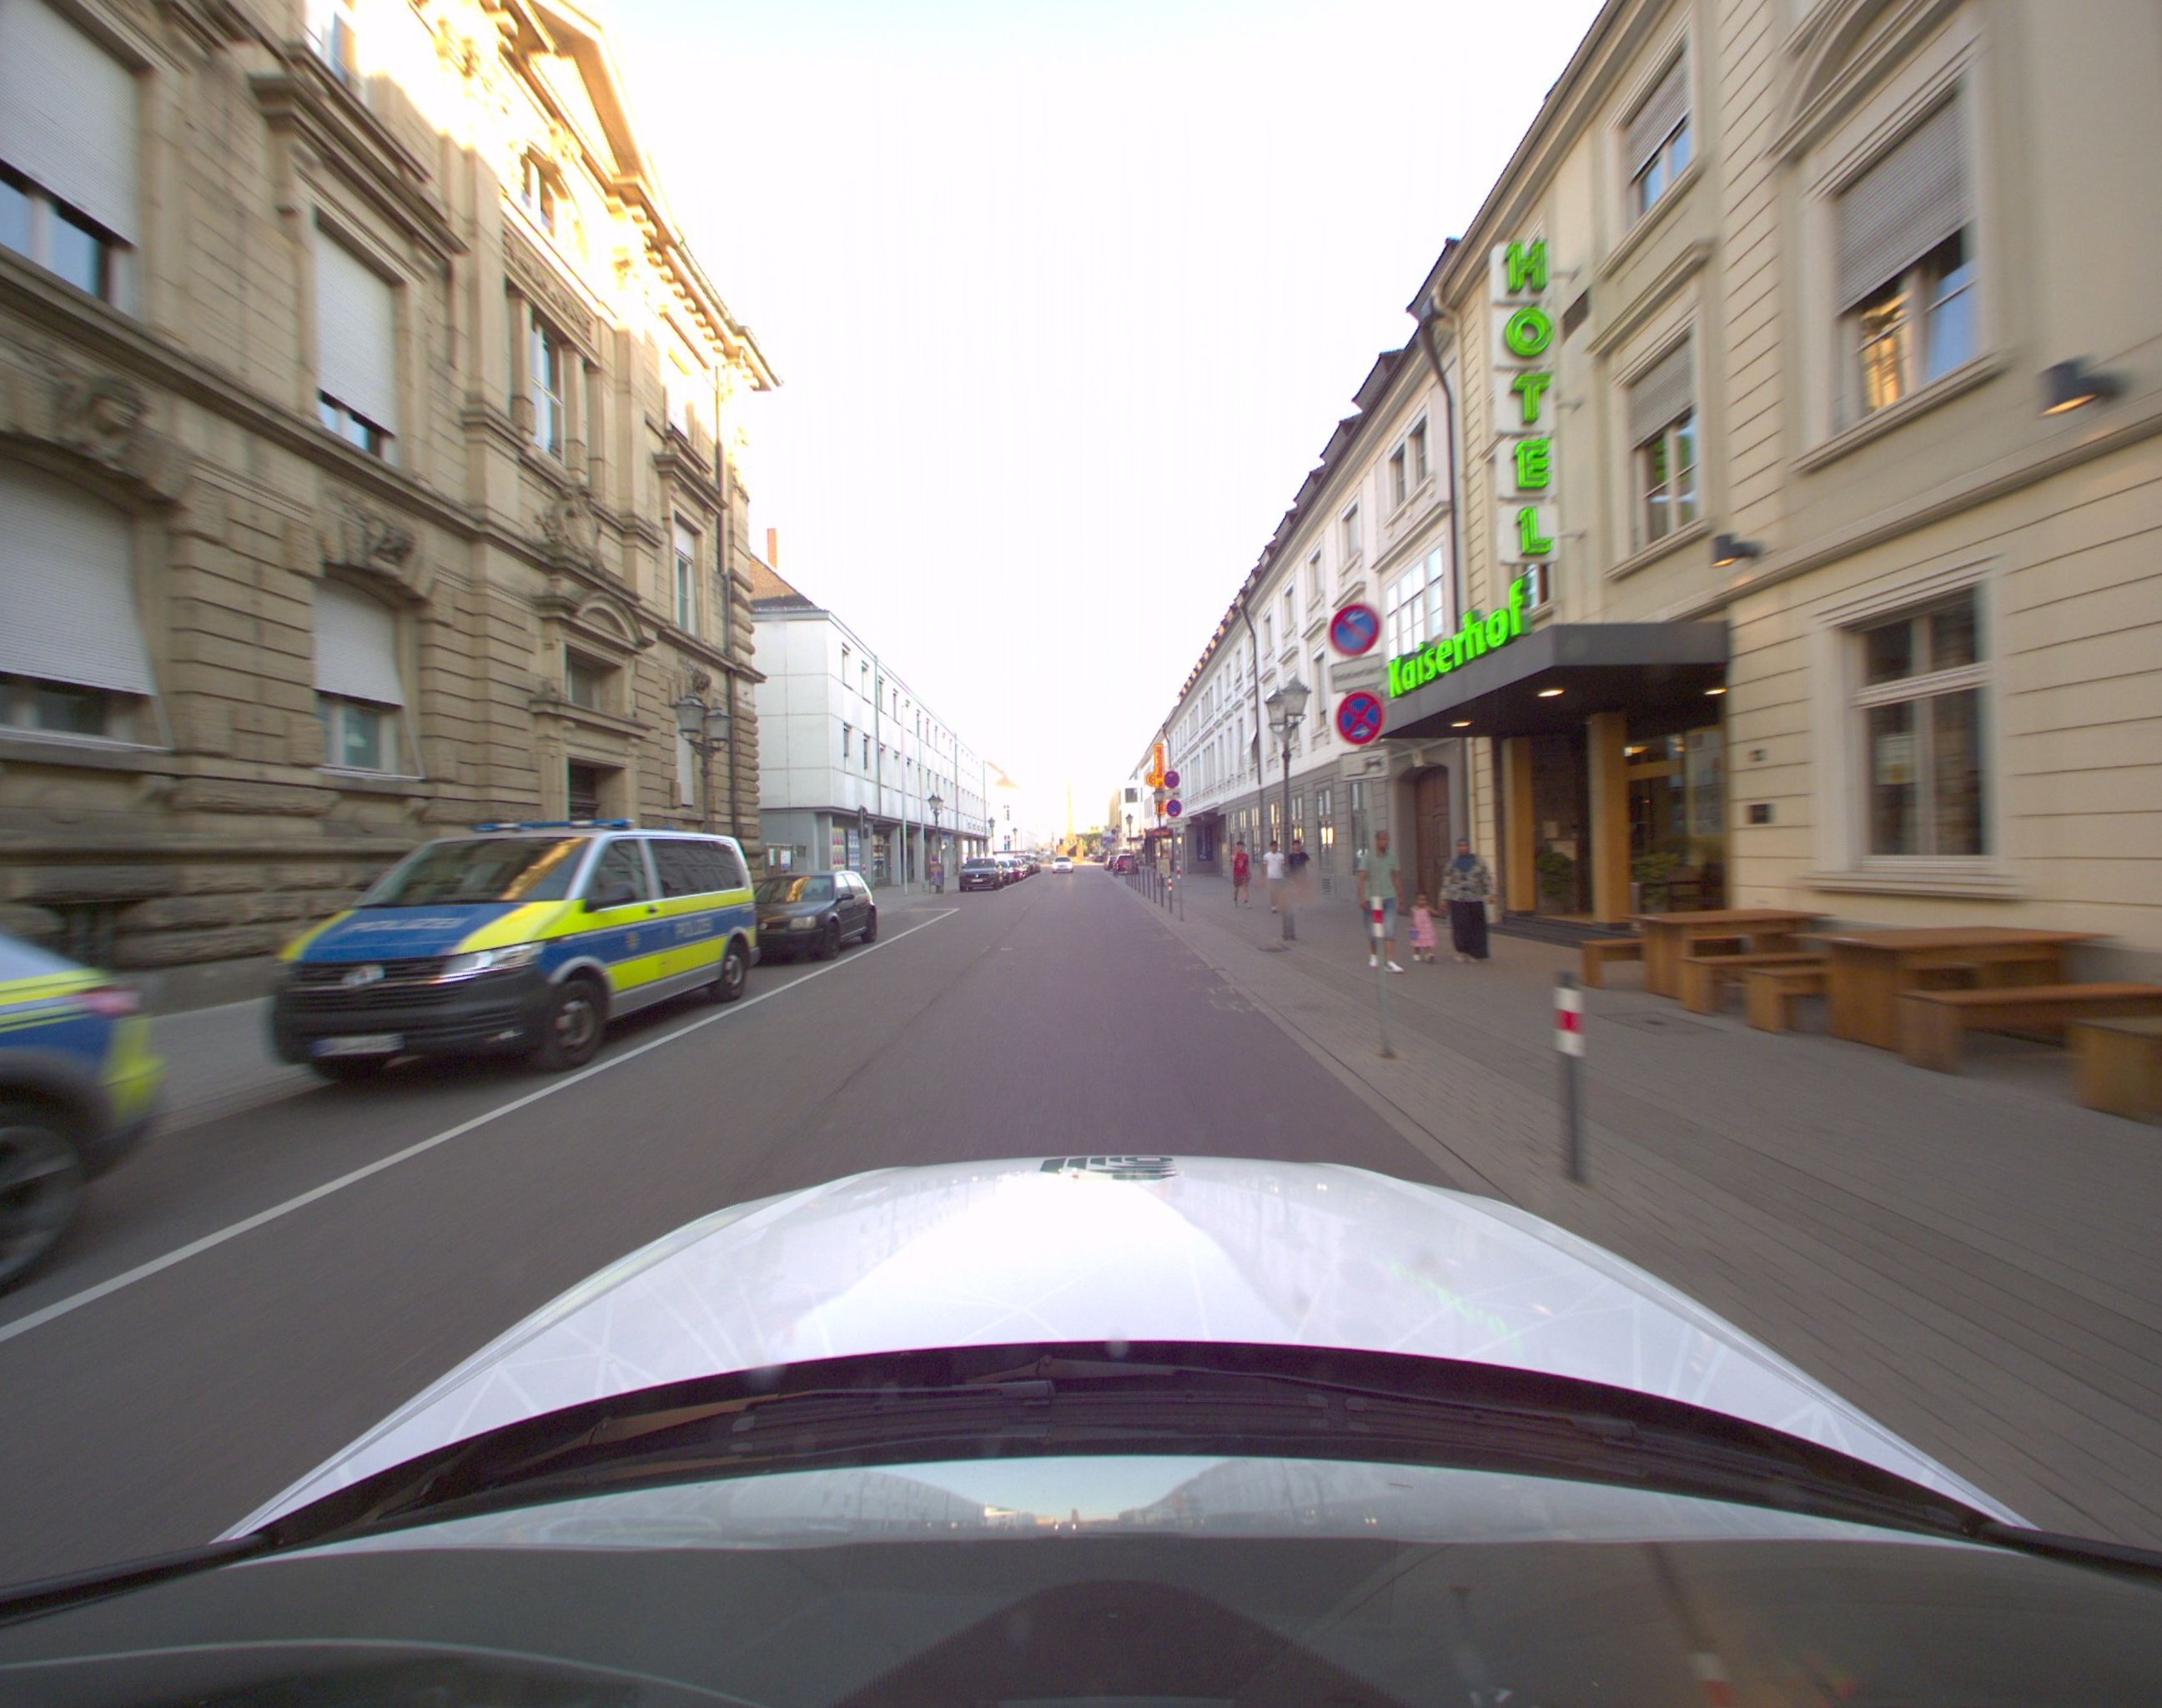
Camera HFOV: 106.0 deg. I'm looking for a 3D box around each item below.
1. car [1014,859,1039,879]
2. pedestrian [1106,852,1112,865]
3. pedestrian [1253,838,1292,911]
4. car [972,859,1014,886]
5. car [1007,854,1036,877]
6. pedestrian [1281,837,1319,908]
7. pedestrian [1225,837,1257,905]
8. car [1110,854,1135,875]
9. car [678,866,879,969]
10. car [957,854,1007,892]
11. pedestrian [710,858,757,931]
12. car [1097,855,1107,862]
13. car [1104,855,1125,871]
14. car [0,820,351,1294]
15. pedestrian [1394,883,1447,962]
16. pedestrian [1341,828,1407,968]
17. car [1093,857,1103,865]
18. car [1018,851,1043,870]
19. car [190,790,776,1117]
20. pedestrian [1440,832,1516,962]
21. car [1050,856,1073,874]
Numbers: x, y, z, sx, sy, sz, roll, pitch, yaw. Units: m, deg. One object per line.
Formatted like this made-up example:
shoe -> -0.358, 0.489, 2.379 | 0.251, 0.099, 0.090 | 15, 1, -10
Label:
car -> -4.143, 1.122, 62.687 | 1.668, 1.400, 3.998 | -3, 0, -1
pedestrian -> 3.744, 0.580, 109.276 | 0.688, 1.647, 0.695 | -2, 0, -1
pedestrian -> 4.731, 0.496, 20.187 | 0.745, 1.730, 0.882 | -2, 0, 3
car -> -4.932, 1.009, 46.031 | 1.779, 1.408, 4.088 | -2, 0, 1
car -> -4.948, 0.939, 68.543 | 1.987, 1.728, 4.515 | -3, 0, 0
pedestrian -> 5.527, 0.447, 20.572 | 0.710, 1.730, 0.874 | -2, 0, 2
pedestrian -> 4.292, 0.449, 21.889 | 0.618, 1.789, 0.914 | -2, 0, 1
car -> 3.196, 0.767, 62.959 | 1.753, 1.523, 3.677 | -2, 0, 0
car -> -5.226, 1.022, 14.754 | 1.987, 1.494, 4.164 | -2, 0, 0
car -> -4.653, 0.862, 38.865 | 1.779, 1.615, 4.166 | -2, 0, 1
pedestrian -> -8.438, 0.970, 19.809 | 0.711, 1.730, 0.896 | 1, 0, 1
car -> 4.367, 0.959, 166.940 | 1.986, 1.464, 4.001 | -2, 0, 1
car -> 3.168, 0.810, 76.729 | 1.795, 1.464, 4.117 | -2, 0, 0
car -> -4.951, 0.777, 1.996 | 1.989, 1.752, 4.983 | -2, 0, -4
pedestrian -> 4.503, 0.899, 10.826 | 0.458, 0.980, 0.558 | -2, 0, 1
pedestrian -> 3.759, 0.546, 10.468 | 0.605, 1.730, 0.558 | -2, 0, 1
car -> 3.308, 1.260, 158.459 | 1.986, 1.464, 4.001 | -2, 0, 1
car -> -4.633, 0.586, 75.432 | 1.987, 1.662, 4.000 | -2, 0, 0
car -> -4.883, 0.676, 7.884 | 1.988, 2.077, 4.987 | -2, -1, -1
pedestrian -> 5.094, 0.537, 10.481 | 0.627, 1.601, 0.615 | -2, 0, 1
car -> -1.614, 0.897, 70.102 | 1.779, 1.408, 4.088 | -2, 0, 1
